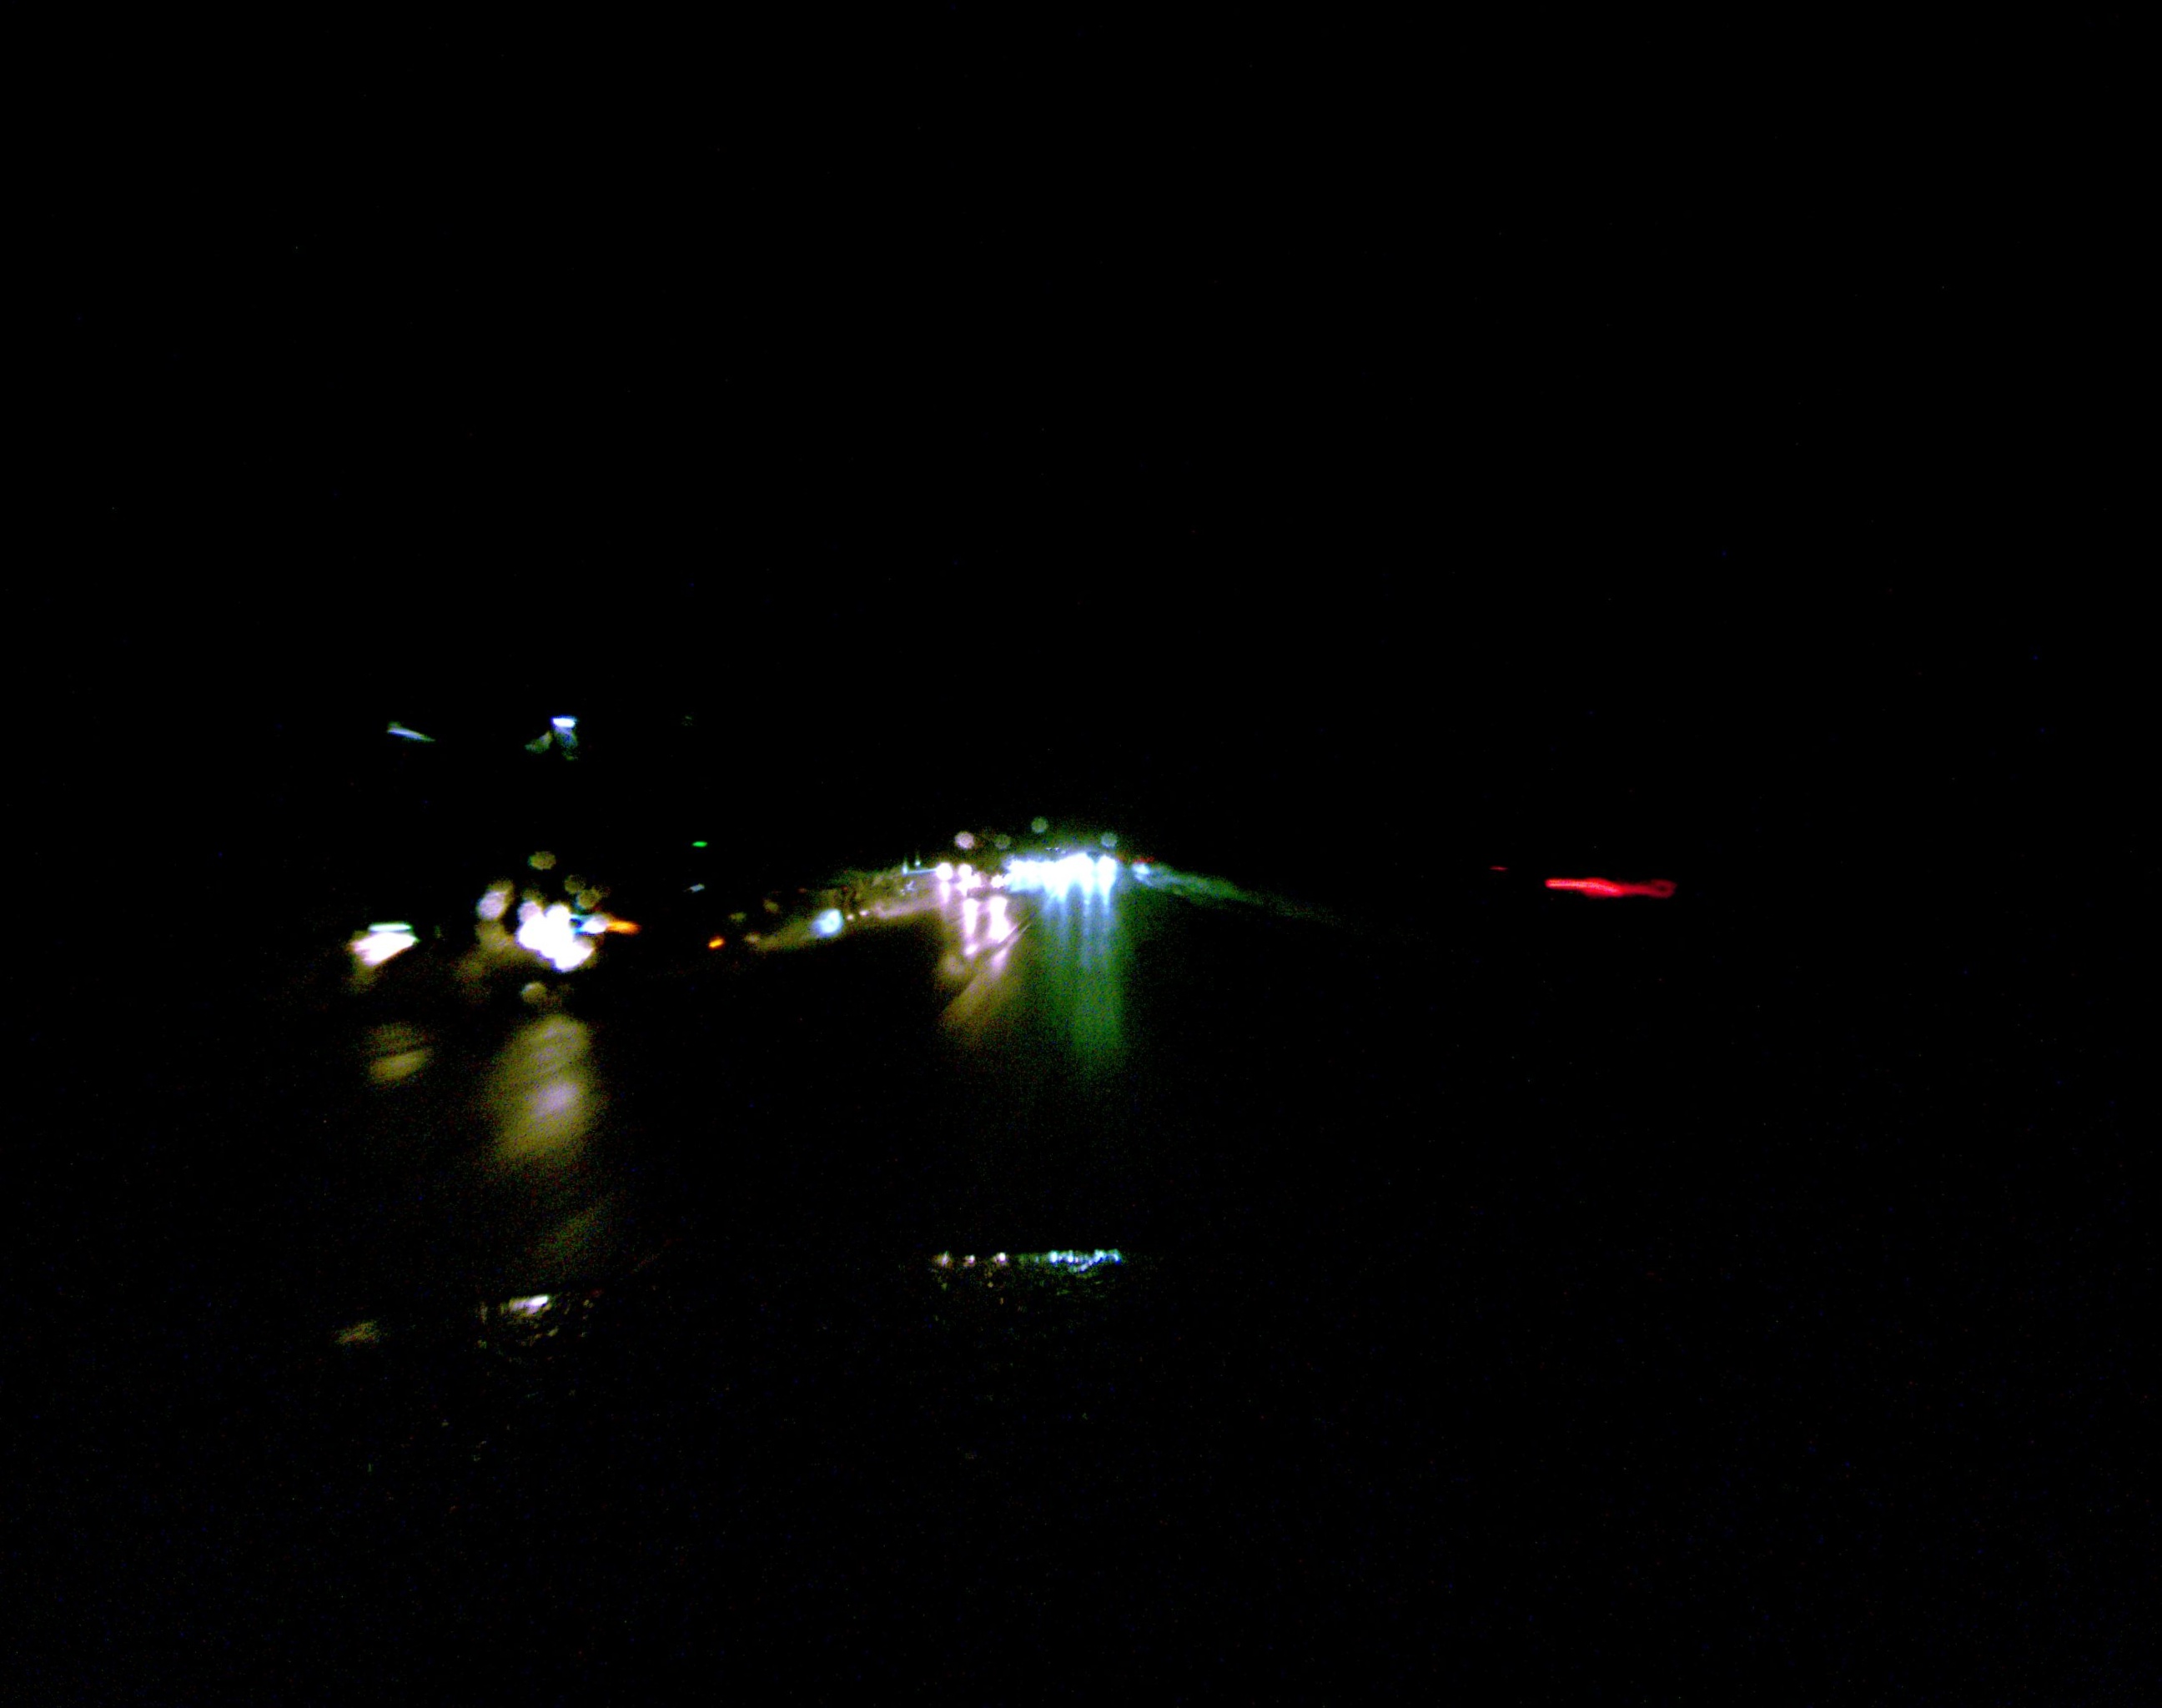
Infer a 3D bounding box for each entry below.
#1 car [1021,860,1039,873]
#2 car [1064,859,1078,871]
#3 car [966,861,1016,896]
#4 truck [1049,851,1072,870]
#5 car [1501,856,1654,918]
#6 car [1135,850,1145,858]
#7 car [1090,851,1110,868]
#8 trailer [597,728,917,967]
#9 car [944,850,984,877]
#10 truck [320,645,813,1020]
[{"bbox_3d":[-6.304,1.500,94.294,1.747,1.470,5.366,-2,0,1],"label":"car"},{"bbox_3d":[-1.355,1.494,103.586,1.619,1.494,3.768,-2,0,2],"label":"car"},{"bbox_3d":[-3.996,1.053,34.338,1.616,1.404,3.792,-2,0,3],"label":"car"},{"bbox_3d":[-1.933,0.572,72.524,1.848,1.686,4.854,-2,0,1],"label":"truck"},{"bbox_3d":[13.923,0.863,21.629,1.801,1.565,3.973,0,0,1],"label":"car"},{"bbox_3d":[11.970,-0.096,154.200,1.714,1.554,4.295,-1,1,1],"label":"car"},{"bbox_3d":[1.696,0.476,67.402,1.619,1.452,3.768,-2,0,2],"label":"car"},{"bbox_3d":[-7.123,-0.118,19.690,2.810,4.187,12.096,-2,0,1],"label":"trailer"},{"bbox_3d":[-9.070,0.714,59.431,2.051,1.962,5.408,-1,0,3],"label":"car"},{"bbox_3d":[-7.251,-0.246,12.494,2.810,4.242,7.448,-2,0,1],"label":"truck"}]
